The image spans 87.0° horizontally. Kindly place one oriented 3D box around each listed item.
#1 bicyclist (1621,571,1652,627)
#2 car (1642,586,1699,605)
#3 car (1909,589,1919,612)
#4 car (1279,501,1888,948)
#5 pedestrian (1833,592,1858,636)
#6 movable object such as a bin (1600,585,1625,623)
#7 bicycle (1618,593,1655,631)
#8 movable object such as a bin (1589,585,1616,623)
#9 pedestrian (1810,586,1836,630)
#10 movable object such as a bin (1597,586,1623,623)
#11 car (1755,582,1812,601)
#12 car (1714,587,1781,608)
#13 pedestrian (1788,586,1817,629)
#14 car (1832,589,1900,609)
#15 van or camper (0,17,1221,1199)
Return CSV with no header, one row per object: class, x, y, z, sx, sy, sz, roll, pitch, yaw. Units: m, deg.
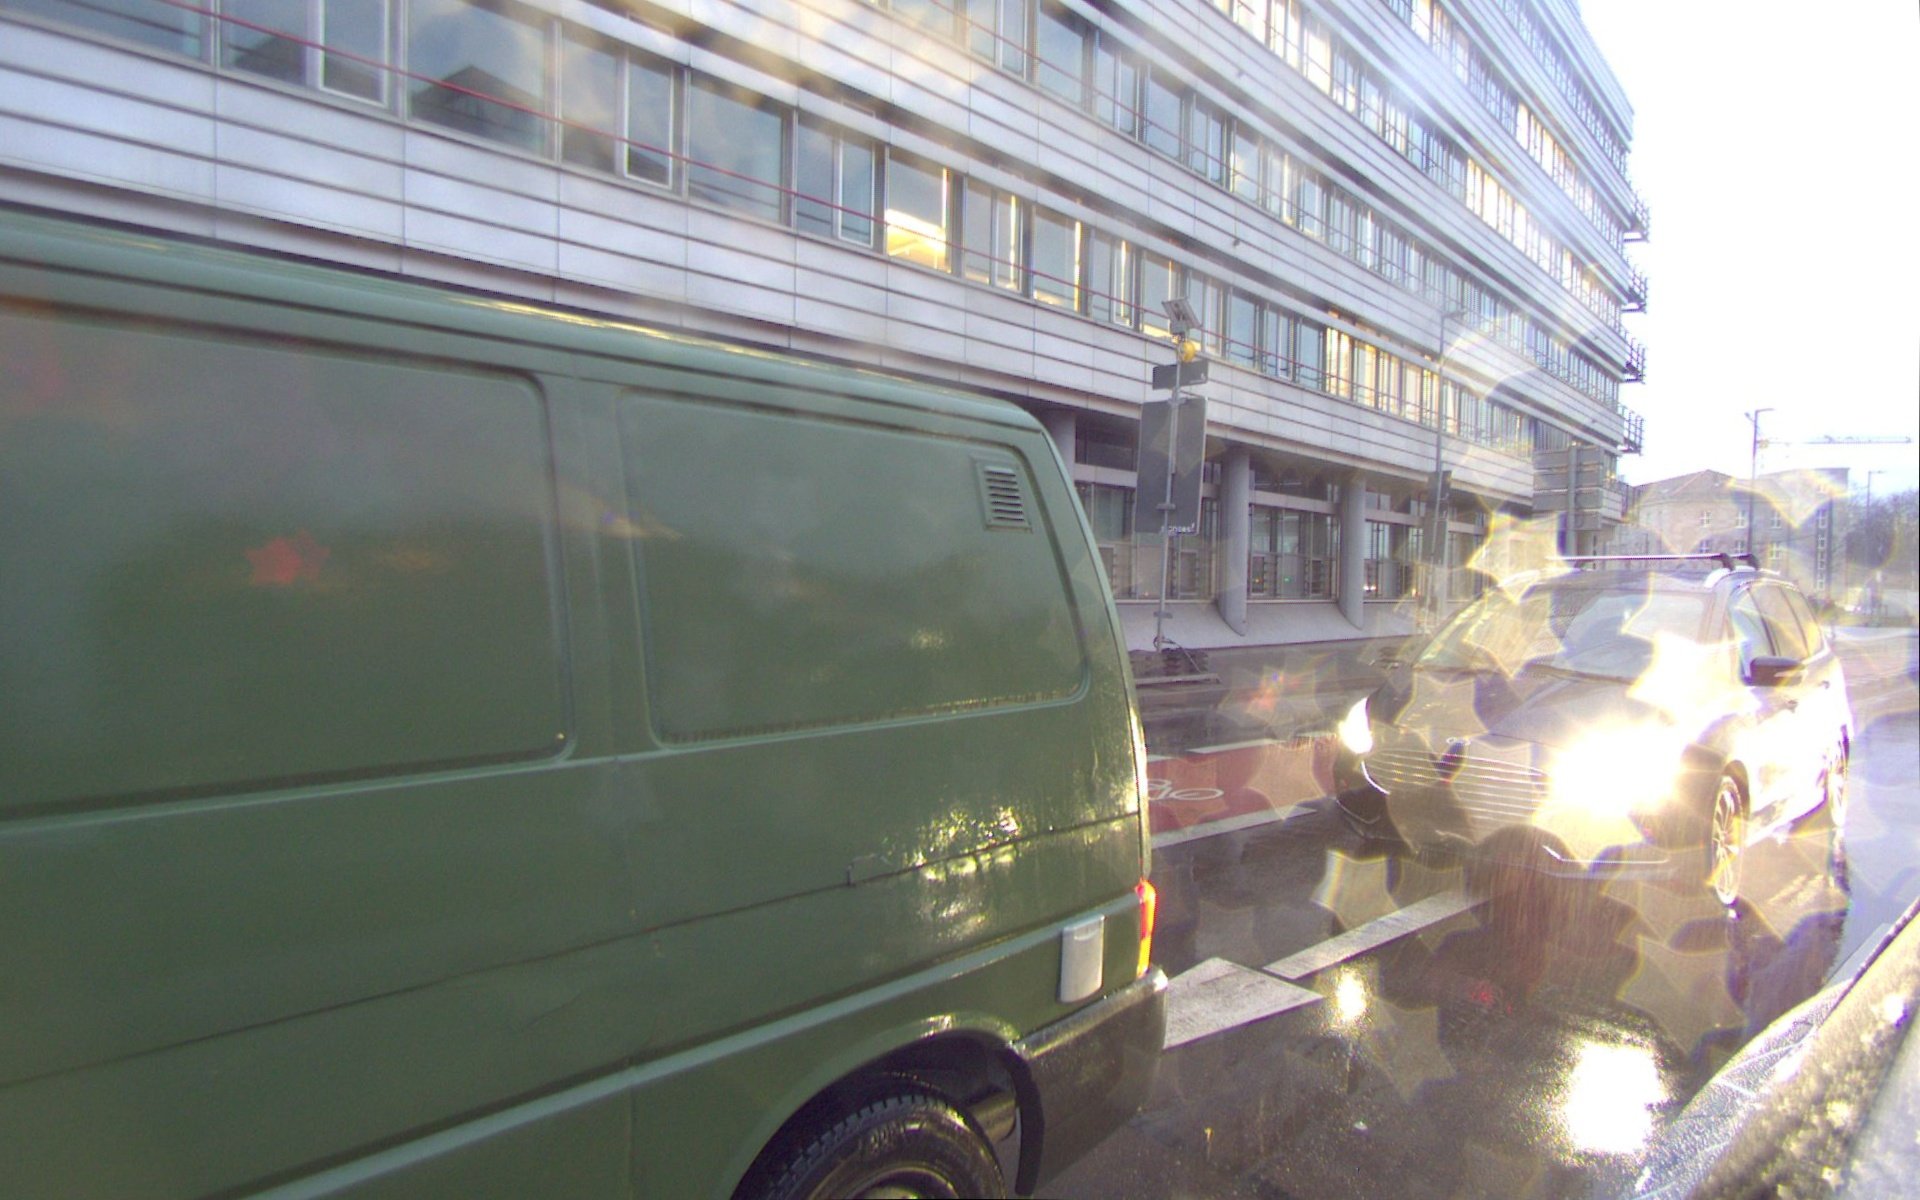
bicyclist,22.555,-0.043,33.742,0.793,1.820,0.670,0,2,-45
car,68.630,-0.452,97.828,1.958,1.693,4.013,0,1,-24
car,76.603,0.083,78.552,1.743,1.730,3.932,0,1,-26
car,4.134,0.502,6.354,4.587,1.834,1.887,0,0,-39
pedestrian,35.675,0.551,40.770,0.870,1.689,0.615,0,3,-44
movable object such as a bin,26.077,0.169,40.453,0.826,1.495,0.665,0,1,-44
bicycle,22.520,0.384,33.692,0.680,1.213,1.733,2,1,45
movable object such as a bin,24.844,0.155,39.134,0.826,1.446,0.665,0,1,-44
pedestrian,35.209,0.322,41.276,0.870,1.723,0.650,0,3,-44
movable object such as a bin,25.503,0.170,39.719,0.826,1.446,0.665,0,1,-44
car,82.015,-0.884,100.854,1.774,1.791,4.009,1,1,-21
car,71.082,-0.233,91.392,1.958,1.782,4.386,0,1,-24
pedestrian,35.229,0.309,42.322,0.953,1.722,0.746,0,4,-44
car,74.306,-0.098,83.043,1.743,1.556,3.775,1,1,-24
van or camper,-1.678,0.456,1.300,4.341,1.931,1.760,0,0,-41
